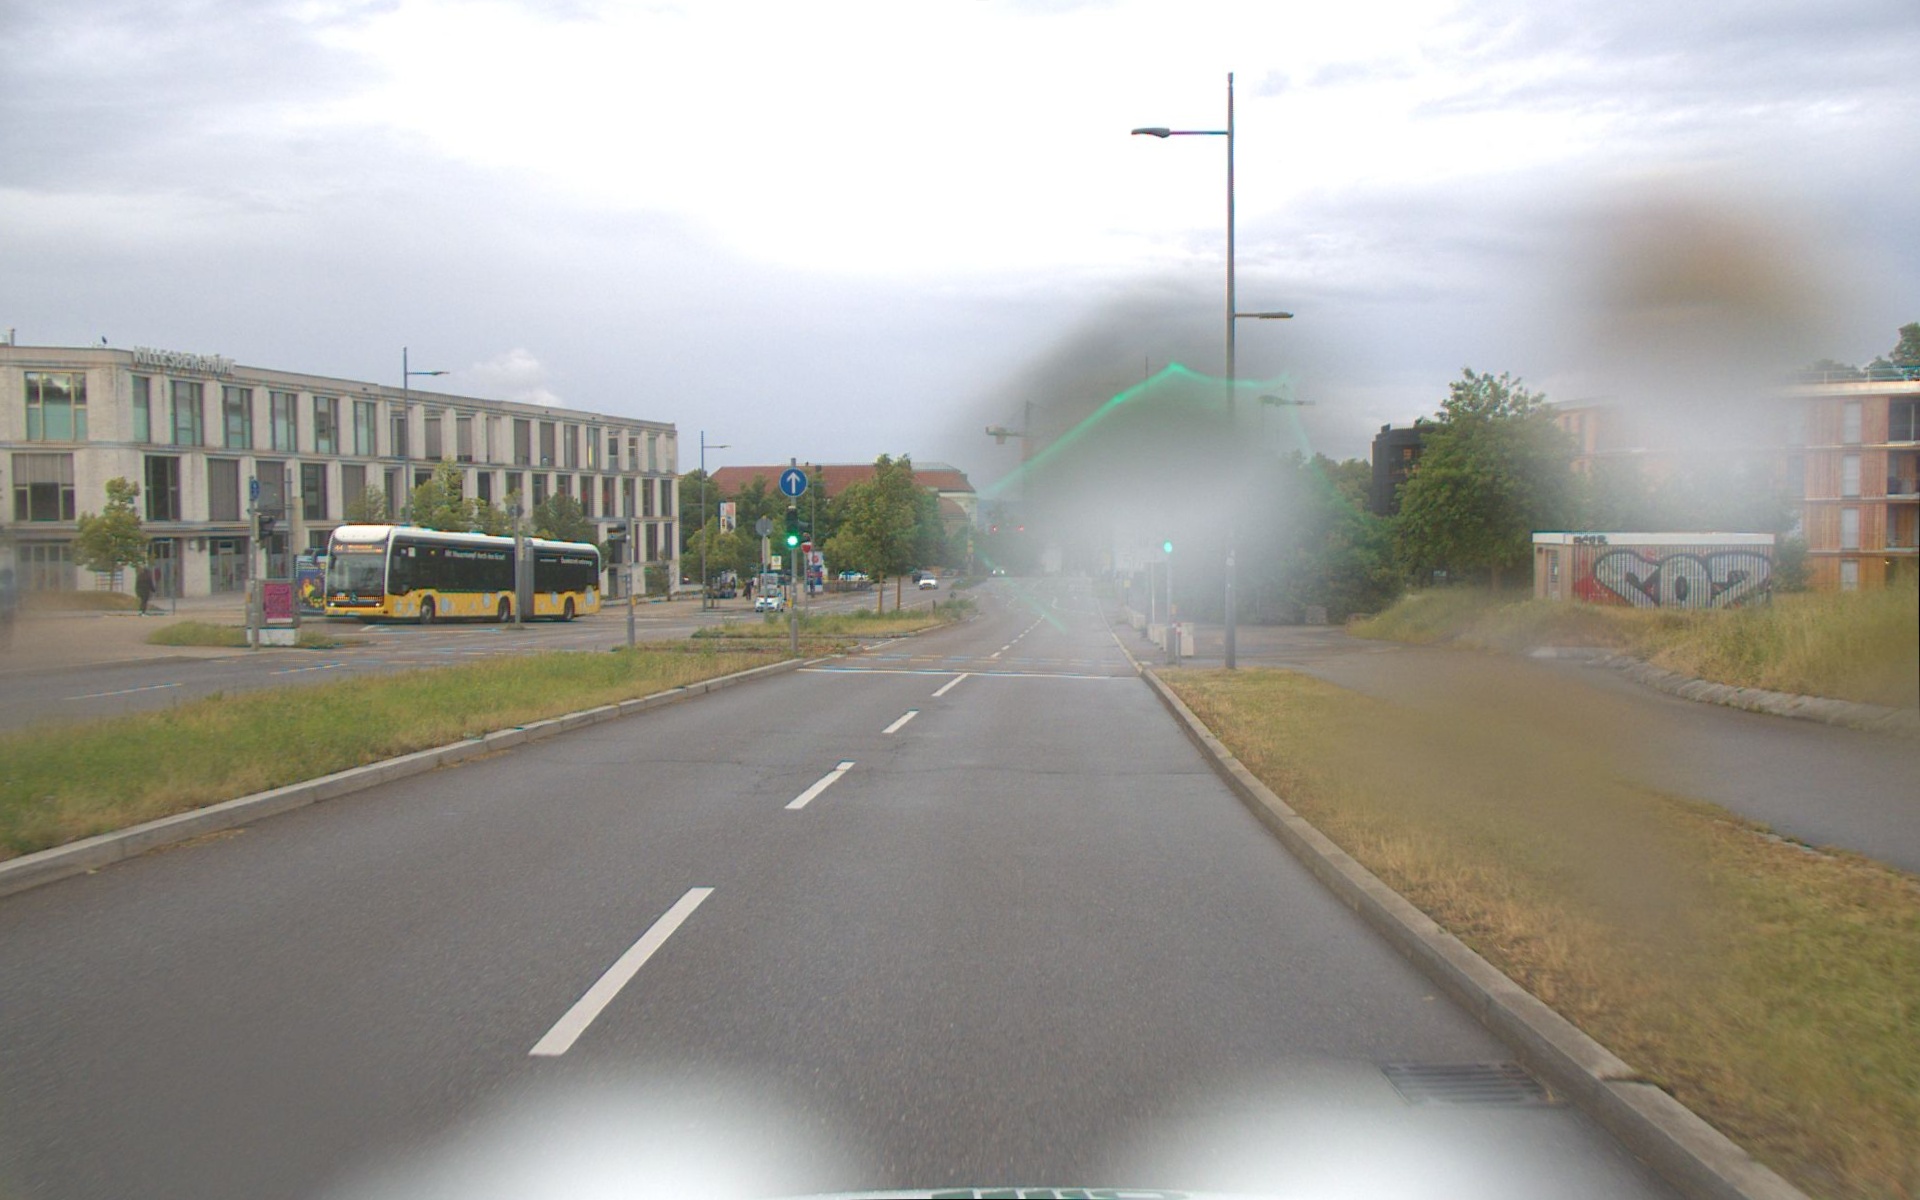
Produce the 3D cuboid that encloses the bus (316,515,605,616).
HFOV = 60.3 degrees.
[{"bbox_3d":[-19.031,-1.090,65.521,2.725,3.416,18.241,-1,-1,11],"label":"bus"}]

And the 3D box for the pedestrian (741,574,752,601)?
[{"bbox_3d":[-16.138,-0.931,124.950,0.736,1.981,0.835,0,-1,-14],"label":"pedestrian"}]

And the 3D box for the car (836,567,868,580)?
[{"bbox_3d":[-13.534,-3.279,207.522,3.791,1.520,1.738,0,-1,6],"label":"car"}]

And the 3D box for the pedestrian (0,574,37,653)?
[{"bbox_3d":[-19.546,0.280,34.052,0.822,1.601,0.715,0,-1,-21],"label":"pedestrian"}]

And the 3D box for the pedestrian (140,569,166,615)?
[{"bbox_3d":[-27.837,-0.268,57.067,0.671,1.551,0.716,0,-1,-14],"label":"pedestrian"}]

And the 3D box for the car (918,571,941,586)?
[{"bbox_3d":[-3.197,-2.225,173.496,1.731,1.520,4.071,0,-1,8],"label":"car"}]

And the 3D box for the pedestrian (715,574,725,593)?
[{"bbox_3d":[-19.358,-1.336,133.529,0.820,1.559,0.749,0,-1,-9],"label":"pedestrian"}]

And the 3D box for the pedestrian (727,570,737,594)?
[{"bbox_3d":[-18.395,-1.466,133.305,0.736,1.885,0.835,0,-1,-14],"label":"pedestrian"}]

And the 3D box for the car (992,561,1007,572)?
[{"bbox_3d":[5.787,-4.939,243.503,1.731,1.520,4.071,0,-1,9],"label":"car"}]

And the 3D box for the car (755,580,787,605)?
[{"bbox_3d":[-12.255,-0.474,107.354,1.446,1.520,2.532,0,-1,9],"label":"car"}]

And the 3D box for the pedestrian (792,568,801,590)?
[{"bbox_3d":[-15.045,-1.911,152.032,0.736,2.049,0.835,0,-1,-14],"label":"pedestrian"}]
